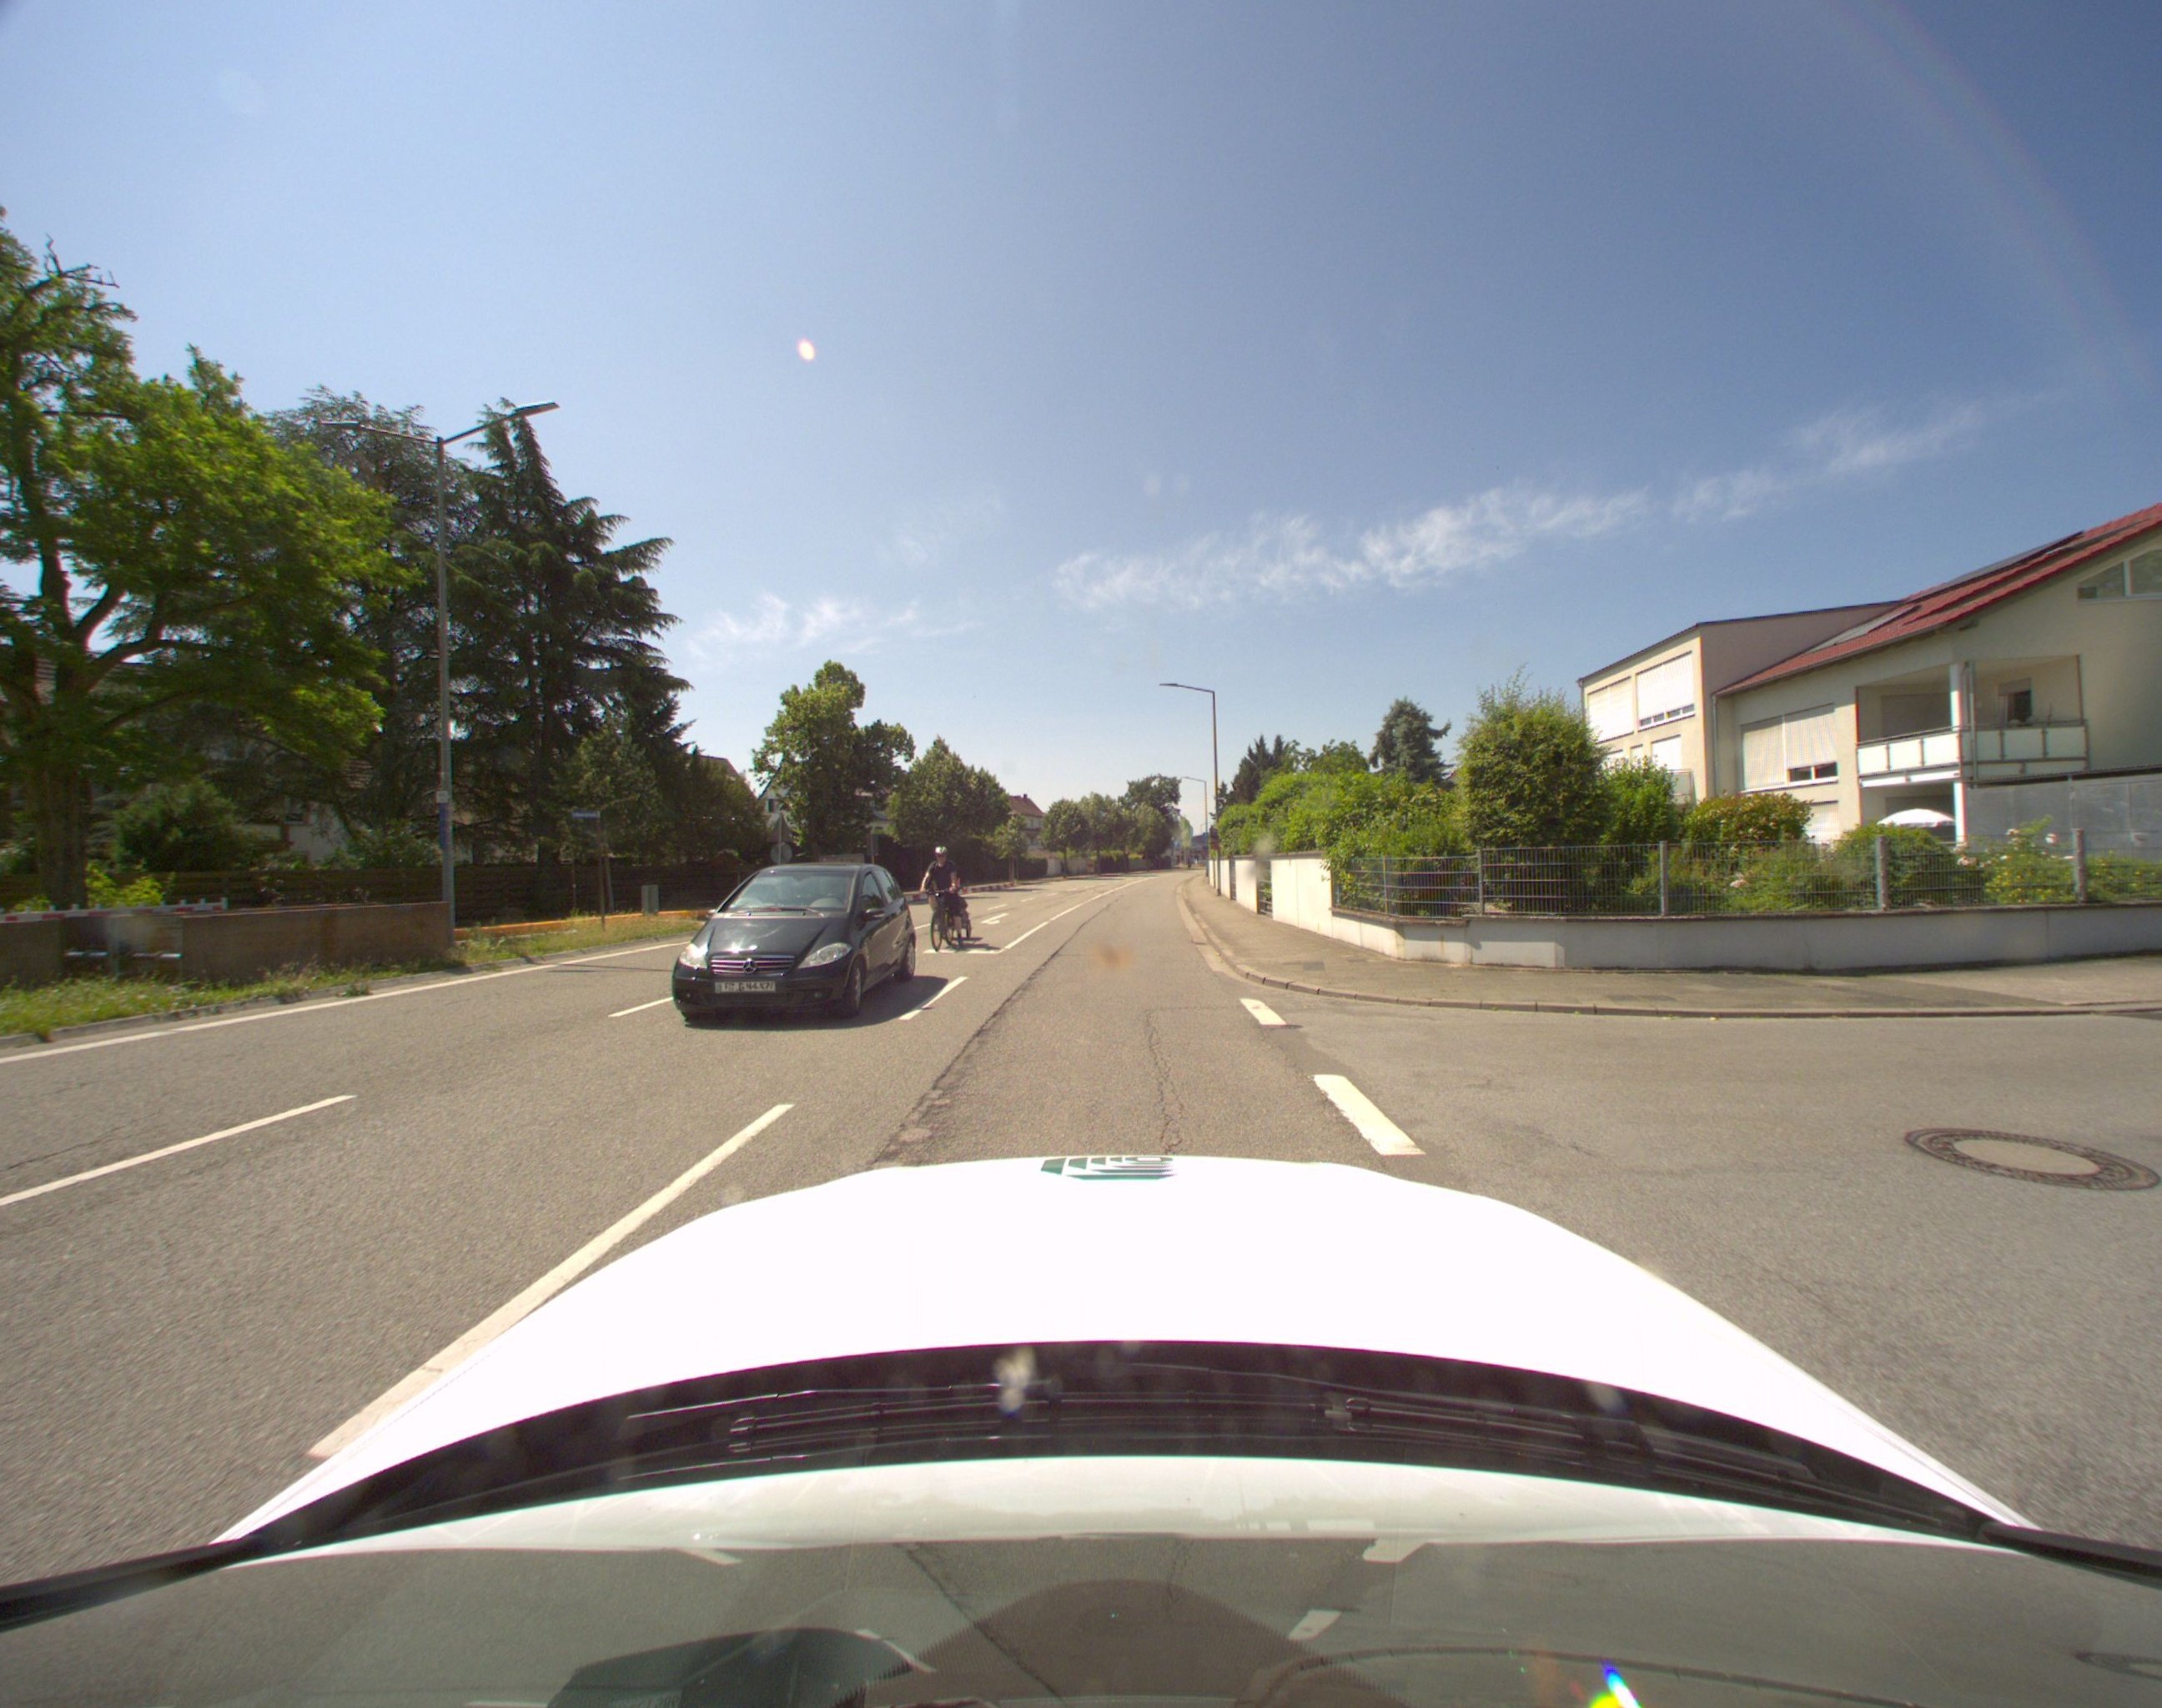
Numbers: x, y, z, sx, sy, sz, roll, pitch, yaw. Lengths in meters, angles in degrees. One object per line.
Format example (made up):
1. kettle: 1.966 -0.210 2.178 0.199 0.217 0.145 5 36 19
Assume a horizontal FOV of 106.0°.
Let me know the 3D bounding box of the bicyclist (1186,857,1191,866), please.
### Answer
1. bicyclist: 17.881 1.250 135.376 0.623 1.409 0.679 -2 -1 15

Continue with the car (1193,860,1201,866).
1. car: 30.304 2.310 212.191 1.605 1.420 3.727 -3 -1 15

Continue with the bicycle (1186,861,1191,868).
1. bicycle: 17.903 1.743 135.418 0.627 1.180 1.823 -2 -1 15

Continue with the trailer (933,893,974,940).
1. trailer: -2.577 1.253 16.509 0.568 0.856 1.133 -1 -1 4

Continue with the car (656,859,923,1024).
1. car: -3.091 0.839 9.513 1.720 1.532 3.829 0 -1 0

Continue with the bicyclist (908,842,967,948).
1. bicyclist: -2.626 0.732 14.964 0.842 1.865 0.977 -1 -1 3

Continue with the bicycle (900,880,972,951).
1. bicycle: -2.619 1.082 14.950 0.847 1.166 1.978 -1 -1 3
